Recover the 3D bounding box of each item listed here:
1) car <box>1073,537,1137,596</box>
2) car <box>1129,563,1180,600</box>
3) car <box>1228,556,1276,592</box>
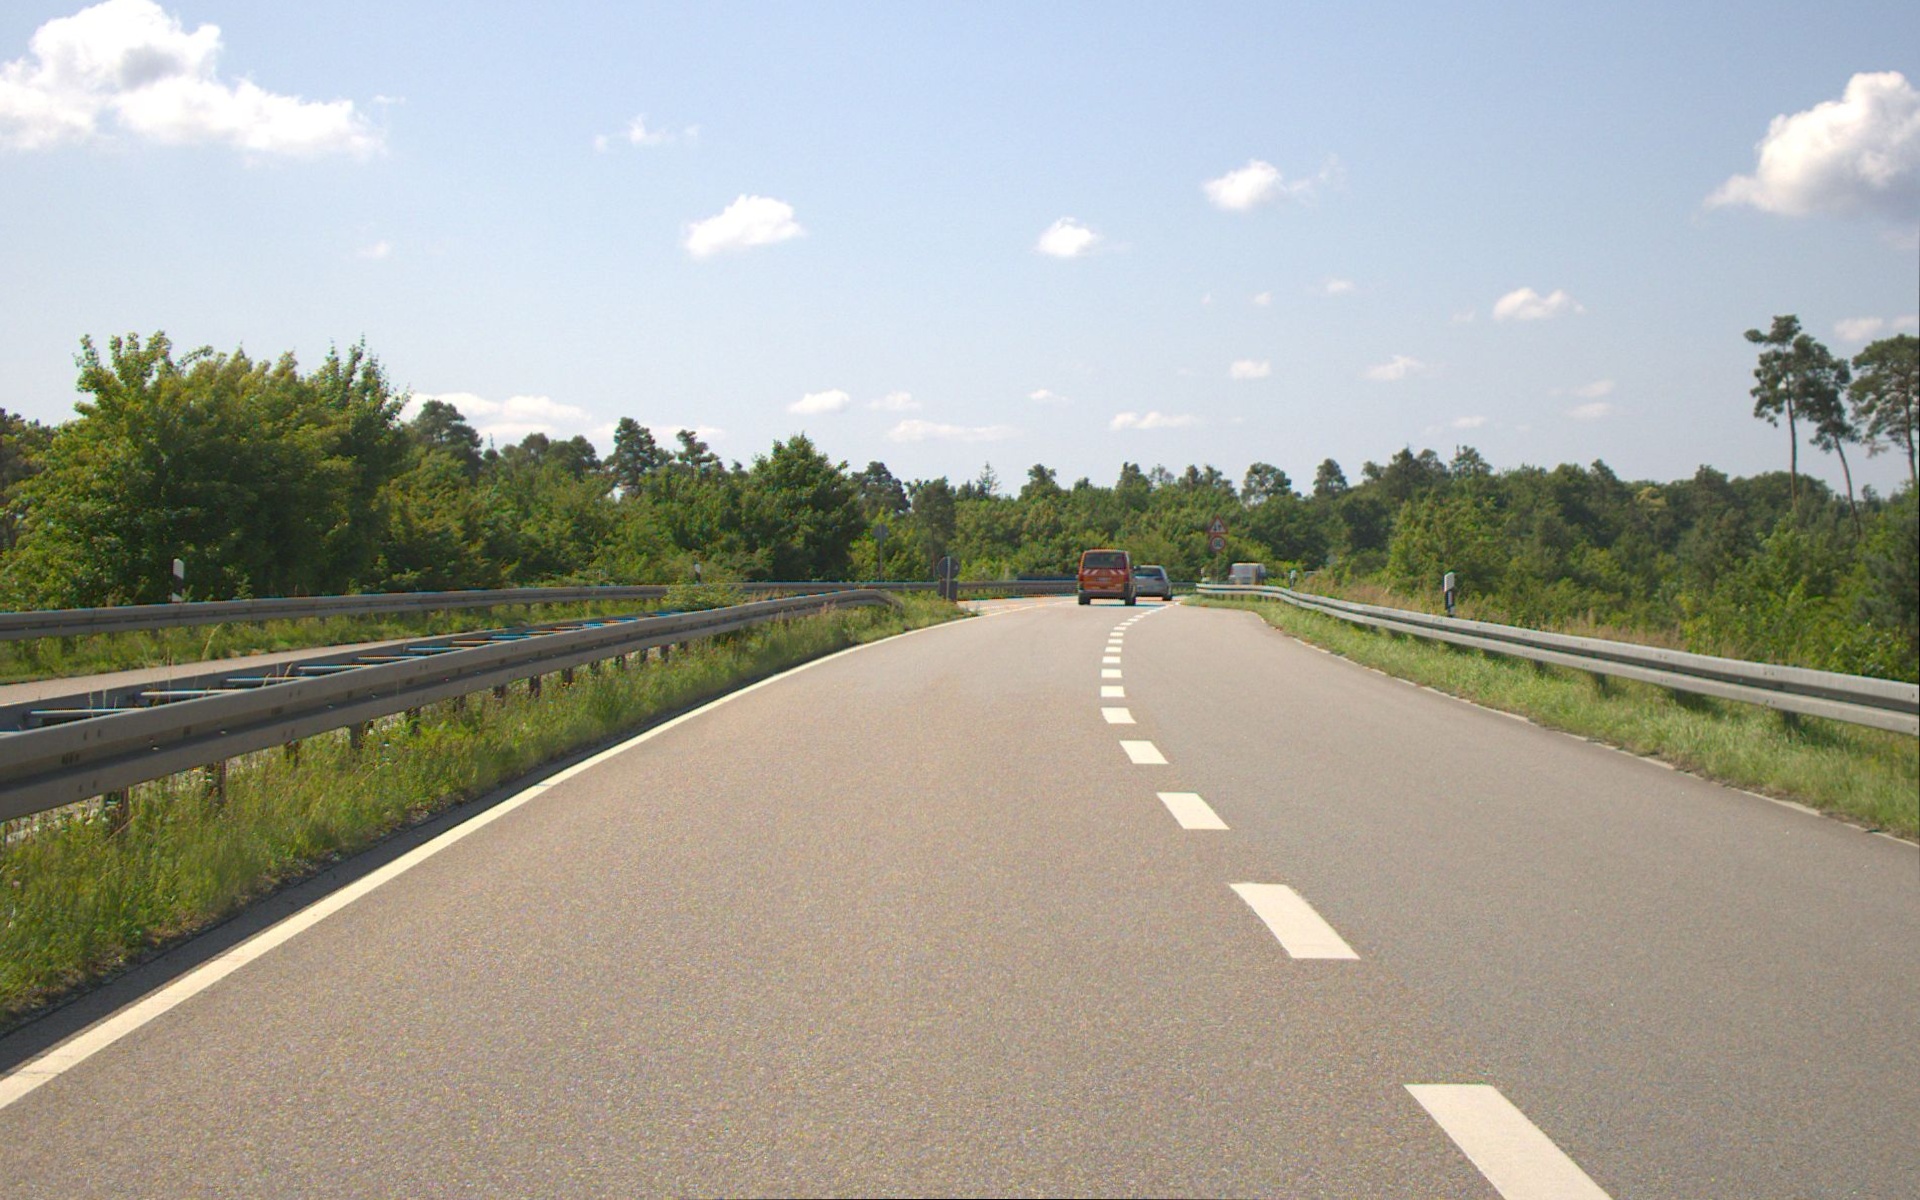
[{"bbox_3d":[5.170,-1.179,121.967,2.077,1.986,5.111,1,0,4],"label":"car"},{"bbox_3d":[8.144,-0.763,143.536,2.007,1.489,4.238,1,0,5],"label":"car"},{"bbox_3d":[16.723,-1.459,196.694,2.185,1.948,5.801,1,0,10],"label":"car"}]
